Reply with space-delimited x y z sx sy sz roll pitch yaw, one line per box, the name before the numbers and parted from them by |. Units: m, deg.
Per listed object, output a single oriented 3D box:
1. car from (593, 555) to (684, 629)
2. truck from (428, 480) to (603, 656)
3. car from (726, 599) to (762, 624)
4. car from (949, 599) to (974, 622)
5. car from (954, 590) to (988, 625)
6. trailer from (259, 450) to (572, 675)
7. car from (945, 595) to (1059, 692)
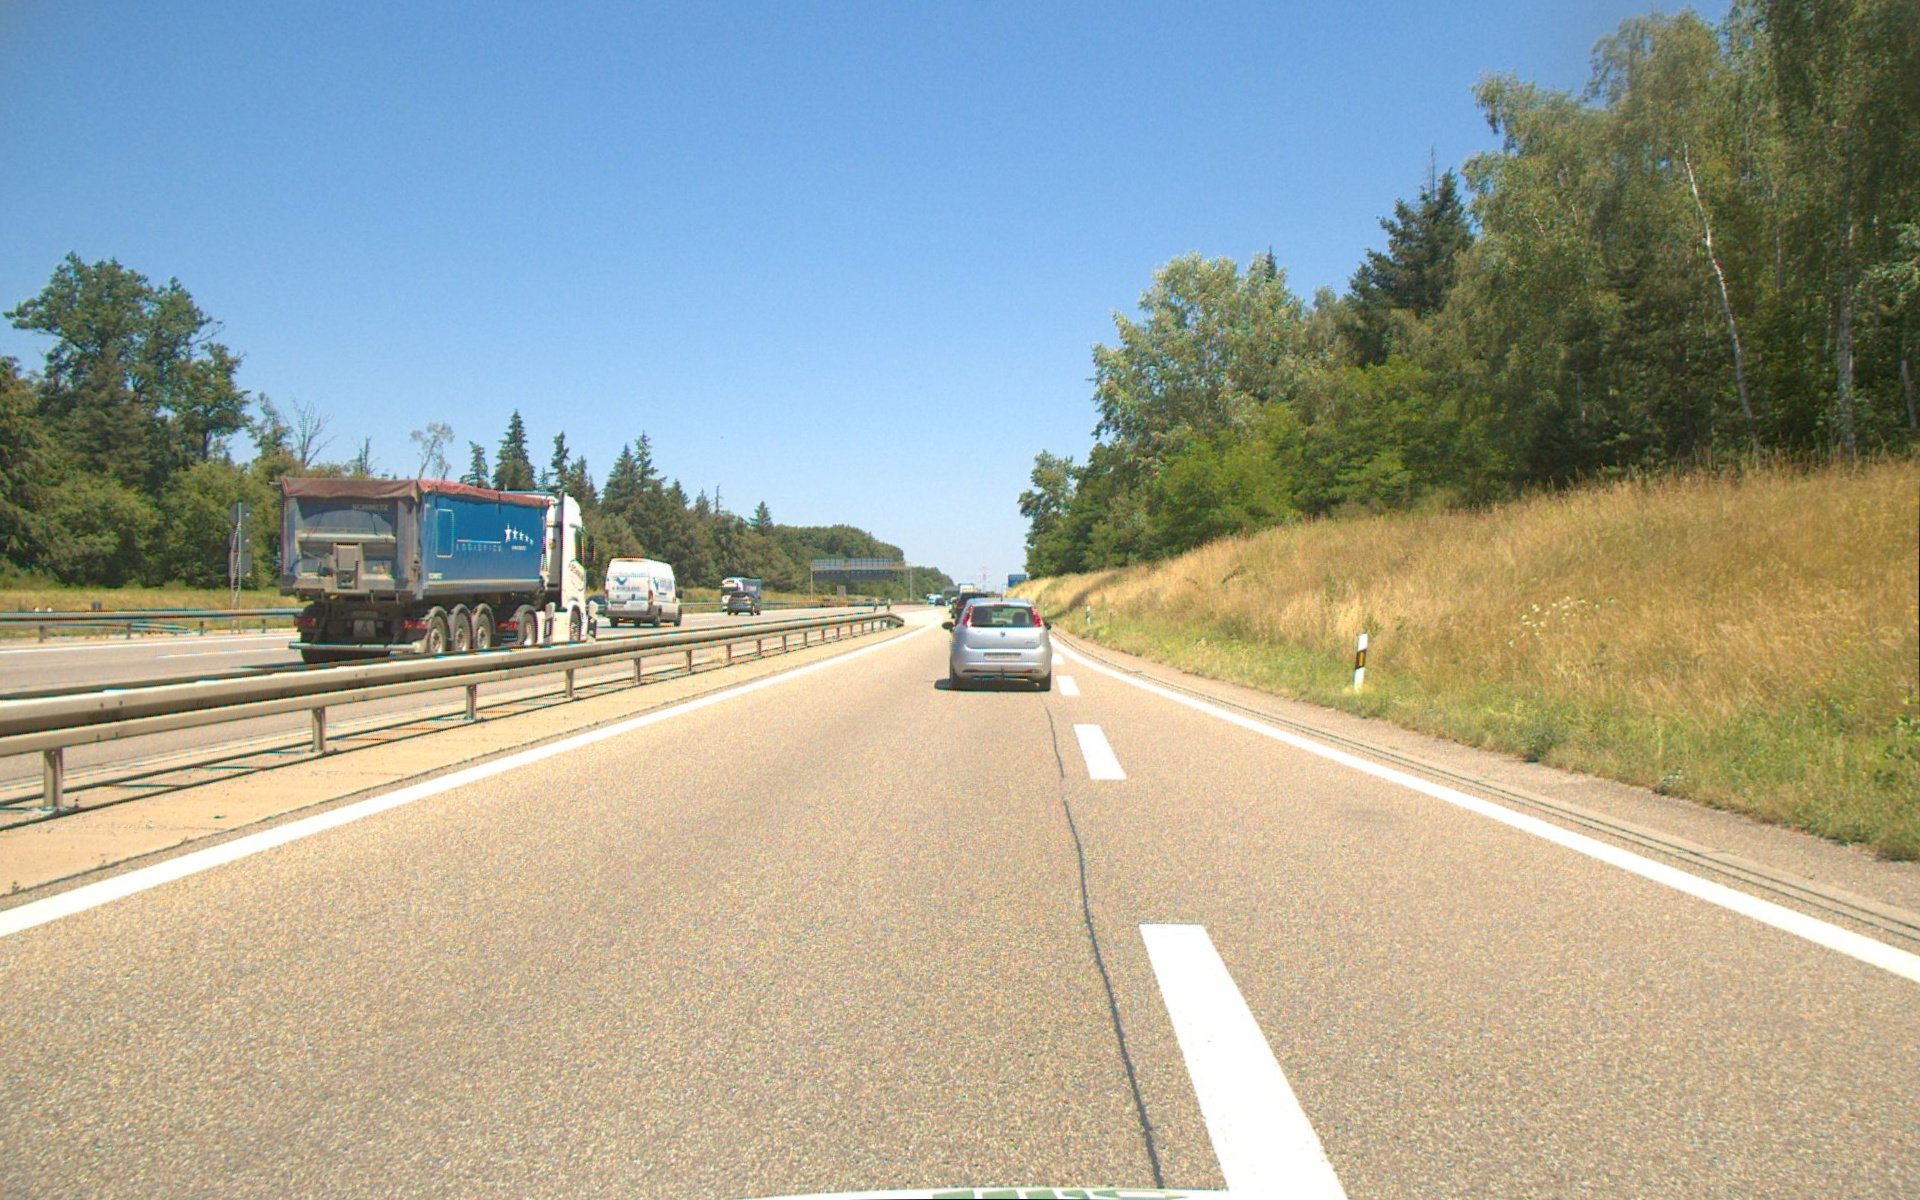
car | -13.539 -0.260 70.080 2.578 2.947 6.474 0 -1 0
truck | -10.335 -0.721 38.896 2.699 3.874 4.623 0 0 2
car | -14.832 0.786 113.610 1.953 1.646 3.999 0 -1 0
car | 0.111 0.754 114.142 1.671 1.534 3.396 0 -1 -1
car | 0.539 0.403 83.123 1.671 1.706 3.396 0 -1 -1
trailer | -10.549 -0.684 33.438 2.713 3.874 9.888 0 0 2
car | 0.645 0.687 27.786 1.672 1.507 3.396 0 0 -3
